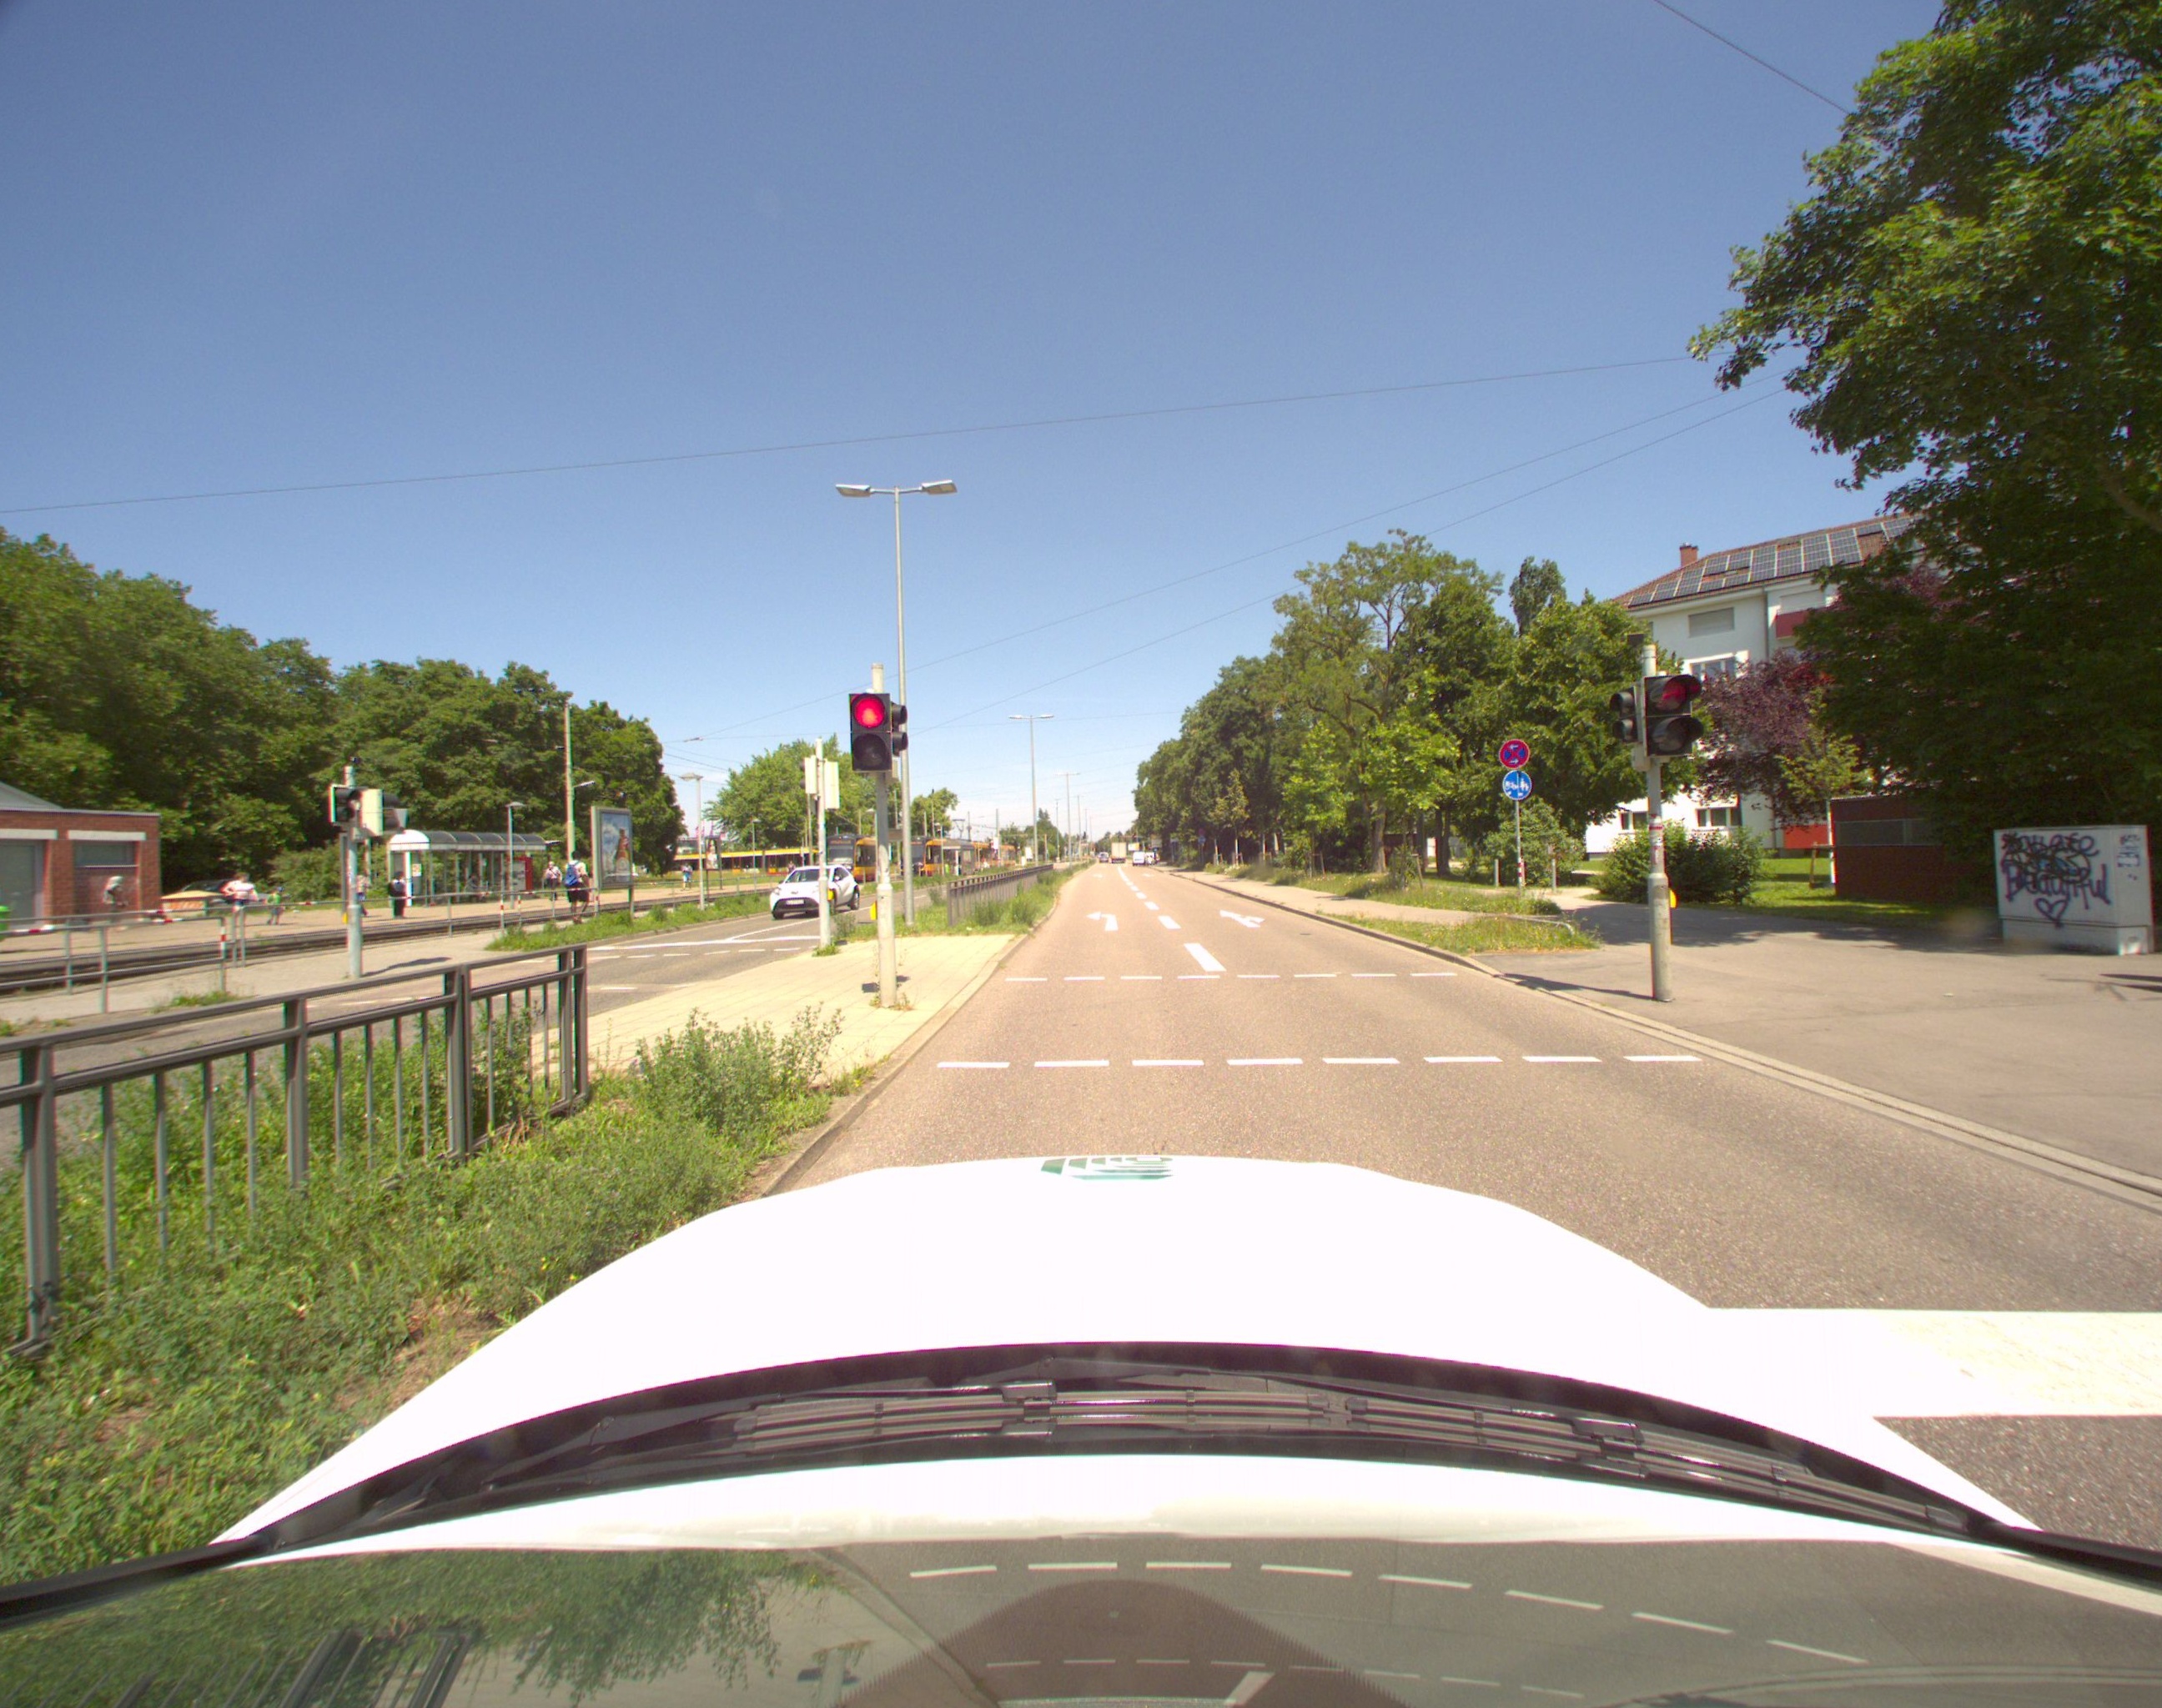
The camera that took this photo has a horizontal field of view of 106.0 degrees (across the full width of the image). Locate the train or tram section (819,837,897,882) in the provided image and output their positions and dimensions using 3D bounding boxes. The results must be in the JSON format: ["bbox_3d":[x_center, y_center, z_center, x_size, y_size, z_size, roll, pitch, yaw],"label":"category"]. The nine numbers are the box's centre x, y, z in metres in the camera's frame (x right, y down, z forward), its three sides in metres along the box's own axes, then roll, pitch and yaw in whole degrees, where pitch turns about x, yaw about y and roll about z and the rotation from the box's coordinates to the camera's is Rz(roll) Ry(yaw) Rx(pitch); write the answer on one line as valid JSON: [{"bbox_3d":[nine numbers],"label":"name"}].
[{"bbox_3d":[-22.464,0.574,80.743,3.235,3.931,18.326,-1,0,-29],"label":"train or tram section"}]

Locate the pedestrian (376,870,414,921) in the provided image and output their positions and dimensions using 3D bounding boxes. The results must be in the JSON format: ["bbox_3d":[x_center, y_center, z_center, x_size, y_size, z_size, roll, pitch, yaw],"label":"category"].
[{"bbox_3d":[-21.572,1.289,25.620,0.635,1.555,0.691,-2,0,-11],"label":"pedestrian"}]

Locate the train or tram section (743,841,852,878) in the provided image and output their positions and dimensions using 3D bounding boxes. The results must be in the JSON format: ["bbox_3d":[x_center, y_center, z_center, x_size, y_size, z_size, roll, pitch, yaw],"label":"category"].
[{"bbox_3d":[-33.230,0.740,94.505,18.263,3.931,3.246,-2,0,41],"label":"train or tram section"}]

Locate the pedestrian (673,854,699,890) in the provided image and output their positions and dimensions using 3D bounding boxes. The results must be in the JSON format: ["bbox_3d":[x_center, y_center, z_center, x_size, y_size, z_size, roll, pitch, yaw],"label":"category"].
[{"bbox_3d":[-22.943,1.029,47.337,0.977,2.013,1.021,-2,0,1],"label":"pedestrian"}]

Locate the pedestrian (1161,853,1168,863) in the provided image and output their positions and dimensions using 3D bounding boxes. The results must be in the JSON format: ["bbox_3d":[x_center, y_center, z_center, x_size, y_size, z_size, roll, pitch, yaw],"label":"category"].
[{"bbox_3d":[16.723,0.825,162.953,1.180,2.013,1.214,-2,0,1],"label":"pedestrian"}]

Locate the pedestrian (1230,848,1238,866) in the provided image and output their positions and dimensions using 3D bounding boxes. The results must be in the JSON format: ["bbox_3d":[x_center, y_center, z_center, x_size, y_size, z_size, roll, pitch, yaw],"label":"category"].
[{"bbox_3d":[12.662,0.250,67.277,0.600,1.438,0.557,-2,0,8],"label":"pedestrian"}]

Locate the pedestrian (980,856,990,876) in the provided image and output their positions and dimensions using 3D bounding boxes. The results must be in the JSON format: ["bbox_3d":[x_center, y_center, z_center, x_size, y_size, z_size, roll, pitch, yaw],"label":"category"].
[{"bbox_3d":[-9.908,1.239,84.072,0.812,2.013,0.939,-2,0,1],"label":"pedestrian"}]

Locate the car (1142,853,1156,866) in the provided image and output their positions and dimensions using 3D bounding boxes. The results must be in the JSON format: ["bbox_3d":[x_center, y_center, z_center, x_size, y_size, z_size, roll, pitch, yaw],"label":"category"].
[{"bbox_3d":[9.389,0.717,112.426,1.773,1.668,4.002,-2,0,2],"label":"car"}]

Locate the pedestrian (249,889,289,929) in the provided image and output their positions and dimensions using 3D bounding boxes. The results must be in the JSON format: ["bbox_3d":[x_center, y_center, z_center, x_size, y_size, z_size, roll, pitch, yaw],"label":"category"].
[{"bbox_3d":[-23.823,1.623,23.907,0.634,1.124,0.572,-2,0,16],"label":"pedestrian"}]

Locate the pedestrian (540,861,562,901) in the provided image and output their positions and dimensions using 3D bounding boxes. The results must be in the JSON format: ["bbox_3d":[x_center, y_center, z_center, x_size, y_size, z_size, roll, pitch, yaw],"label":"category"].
[{"bbox_3d":[-24.084,1.225,37.000,0.725,1.800,0.835,-1,0,-41],"label":"pedestrian"}]

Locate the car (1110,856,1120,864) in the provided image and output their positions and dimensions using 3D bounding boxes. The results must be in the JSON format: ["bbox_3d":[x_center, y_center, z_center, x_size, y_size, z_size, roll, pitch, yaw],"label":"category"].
[{"bbox_3d":[6.491,1.142,153.693,1.804,1.464,4.002,-2,0,2],"label":"car"}]

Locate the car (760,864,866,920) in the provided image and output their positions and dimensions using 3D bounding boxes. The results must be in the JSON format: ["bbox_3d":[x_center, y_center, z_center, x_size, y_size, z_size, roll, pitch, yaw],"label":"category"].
[{"bbox_3d":[-8.108,1.095,24.990,1.838,1.494,3.793,-2,0,2],"label":"car"}]

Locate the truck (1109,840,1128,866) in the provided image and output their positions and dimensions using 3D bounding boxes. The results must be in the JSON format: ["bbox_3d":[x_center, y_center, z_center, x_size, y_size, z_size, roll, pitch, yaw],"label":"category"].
[{"bbox_3d":[6.775,-0.172,146.142,3.193,4.359,6.563,-2,0,2],"label":"truck"}]

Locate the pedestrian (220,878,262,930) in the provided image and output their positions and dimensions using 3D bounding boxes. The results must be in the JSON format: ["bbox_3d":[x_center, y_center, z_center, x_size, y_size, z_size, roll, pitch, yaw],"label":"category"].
[{"bbox_3d":[-24.072,1.431,23.333,0.634,1.456,0.585,-2,0,16],"label":"pedestrian"}]

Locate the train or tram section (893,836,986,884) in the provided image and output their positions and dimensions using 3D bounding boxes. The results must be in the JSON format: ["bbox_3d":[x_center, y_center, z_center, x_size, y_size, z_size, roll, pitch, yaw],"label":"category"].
[{"bbox_3d":[-12.980,0.484,79.637,2.947,3.749,30.041,-2,0,2],"label":"train or tram section"}]

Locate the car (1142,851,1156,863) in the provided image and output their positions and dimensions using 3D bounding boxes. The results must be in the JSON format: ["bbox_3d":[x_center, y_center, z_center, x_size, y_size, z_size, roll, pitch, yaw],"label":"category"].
[{"bbox_3d":[9.911,0.459,118.767,1.773,1.668,4.002,-2,0,2],"label":"car"}]

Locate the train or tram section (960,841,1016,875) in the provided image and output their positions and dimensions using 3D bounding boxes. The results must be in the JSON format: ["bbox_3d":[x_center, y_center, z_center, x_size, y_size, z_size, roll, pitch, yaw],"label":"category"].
[{"bbox_3d":[-12.120,0.465,111.181,2.920,3.789,33.097,-2,0,2],"label":"train or tram section"}]

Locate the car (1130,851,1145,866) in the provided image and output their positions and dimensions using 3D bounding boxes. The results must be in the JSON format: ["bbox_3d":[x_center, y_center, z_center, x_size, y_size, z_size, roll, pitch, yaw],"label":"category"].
[{"bbox_3d":[7.300,0.561,105.544,1.773,1.903,4.002,-2,0,2],"label":"car"}]

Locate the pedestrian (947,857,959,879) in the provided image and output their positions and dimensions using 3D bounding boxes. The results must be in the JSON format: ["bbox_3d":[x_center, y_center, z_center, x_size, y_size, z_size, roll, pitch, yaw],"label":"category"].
[{"bbox_3d":[-10.977,1.201,69.734,0.783,1.868,0.818,-2,0,1],"label":"pedestrian"}]

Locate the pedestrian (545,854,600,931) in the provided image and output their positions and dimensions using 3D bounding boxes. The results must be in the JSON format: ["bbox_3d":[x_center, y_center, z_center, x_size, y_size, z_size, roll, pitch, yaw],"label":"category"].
[{"bbox_3d":[-12.351,0.920,19.800,0.715,1.777,0.843,3,2,1],"label":"pedestrian"}]

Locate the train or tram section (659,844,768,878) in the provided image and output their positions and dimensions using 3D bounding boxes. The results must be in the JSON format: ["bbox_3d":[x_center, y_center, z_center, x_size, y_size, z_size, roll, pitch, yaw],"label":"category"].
[{"bbox_3d":[-47.750,1.015,105.215,18.260,3.931,3.247,-2,0,32],"label":"train or tram section"}]

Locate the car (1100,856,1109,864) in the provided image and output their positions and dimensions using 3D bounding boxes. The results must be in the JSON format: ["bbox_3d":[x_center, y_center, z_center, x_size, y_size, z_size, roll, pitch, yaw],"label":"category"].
[{"bbox_3d":[4.562,1.169,158.011,1.804,1.464,4.002,-2,0,2],"label":"car"}]

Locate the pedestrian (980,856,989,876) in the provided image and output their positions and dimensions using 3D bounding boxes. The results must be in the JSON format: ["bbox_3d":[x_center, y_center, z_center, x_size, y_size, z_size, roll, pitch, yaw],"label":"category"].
[{"bbox_3d":[-10.128,1.252,85.371,0.812,2.013,0.939,-2,0,1],"label":"pedestrian"}]

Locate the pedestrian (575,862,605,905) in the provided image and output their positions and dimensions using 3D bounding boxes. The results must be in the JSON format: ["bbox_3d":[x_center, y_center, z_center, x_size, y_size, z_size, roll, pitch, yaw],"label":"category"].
[{"bbox_3d":[-21.215,1.252,35.190,0.715,1.777,0.843,3,2,1],"label":"pedestrian"}]

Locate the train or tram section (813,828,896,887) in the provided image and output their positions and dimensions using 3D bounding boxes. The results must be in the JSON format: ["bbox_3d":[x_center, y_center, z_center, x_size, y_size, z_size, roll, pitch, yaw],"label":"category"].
[{"bbox_3d":[-17.381,0.257,64.238,3.211,3.931,18.460,-2,0,-6],"label":"train or tram section"}]

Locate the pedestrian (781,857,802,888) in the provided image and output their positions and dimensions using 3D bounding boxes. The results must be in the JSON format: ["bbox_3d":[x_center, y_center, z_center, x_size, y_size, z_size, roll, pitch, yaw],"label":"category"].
[{"bbox_3d":[-19.547,1.222,54.965,0.977,2.013,1.021,-2,0,1],"label":"pedestrian"}]

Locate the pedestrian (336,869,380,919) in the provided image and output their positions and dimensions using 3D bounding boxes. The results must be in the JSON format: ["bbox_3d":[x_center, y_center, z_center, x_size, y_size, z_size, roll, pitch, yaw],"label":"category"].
[{"bbox_3d":[-23.705,1.290,26.713,0.669,1.590,0.808,-2,0,1],"label":"pedestrian"}]

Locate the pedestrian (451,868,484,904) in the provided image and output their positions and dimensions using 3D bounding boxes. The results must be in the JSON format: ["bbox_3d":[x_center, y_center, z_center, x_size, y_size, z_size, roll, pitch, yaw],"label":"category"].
[{"bbox_3d":[-26.282,1.374,34.902,0.836,1.511,0.723,-2,0,12],"label":"pedestrian"}]

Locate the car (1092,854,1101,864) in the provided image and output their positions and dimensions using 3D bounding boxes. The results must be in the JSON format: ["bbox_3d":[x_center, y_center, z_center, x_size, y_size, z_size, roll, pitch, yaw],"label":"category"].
[{"bbox_3d":[3.330,1.093,175.337,1.986,2.013,4.002,-2,0,2],"label":"car"}]

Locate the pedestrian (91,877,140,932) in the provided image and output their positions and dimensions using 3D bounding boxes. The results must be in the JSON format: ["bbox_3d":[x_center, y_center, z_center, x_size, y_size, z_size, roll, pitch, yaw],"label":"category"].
[{"bbox_3d":[-26.708,1.396,22.538,0.636,1.480,0.570,-2,0,1],"label":"pedestrian"}]
